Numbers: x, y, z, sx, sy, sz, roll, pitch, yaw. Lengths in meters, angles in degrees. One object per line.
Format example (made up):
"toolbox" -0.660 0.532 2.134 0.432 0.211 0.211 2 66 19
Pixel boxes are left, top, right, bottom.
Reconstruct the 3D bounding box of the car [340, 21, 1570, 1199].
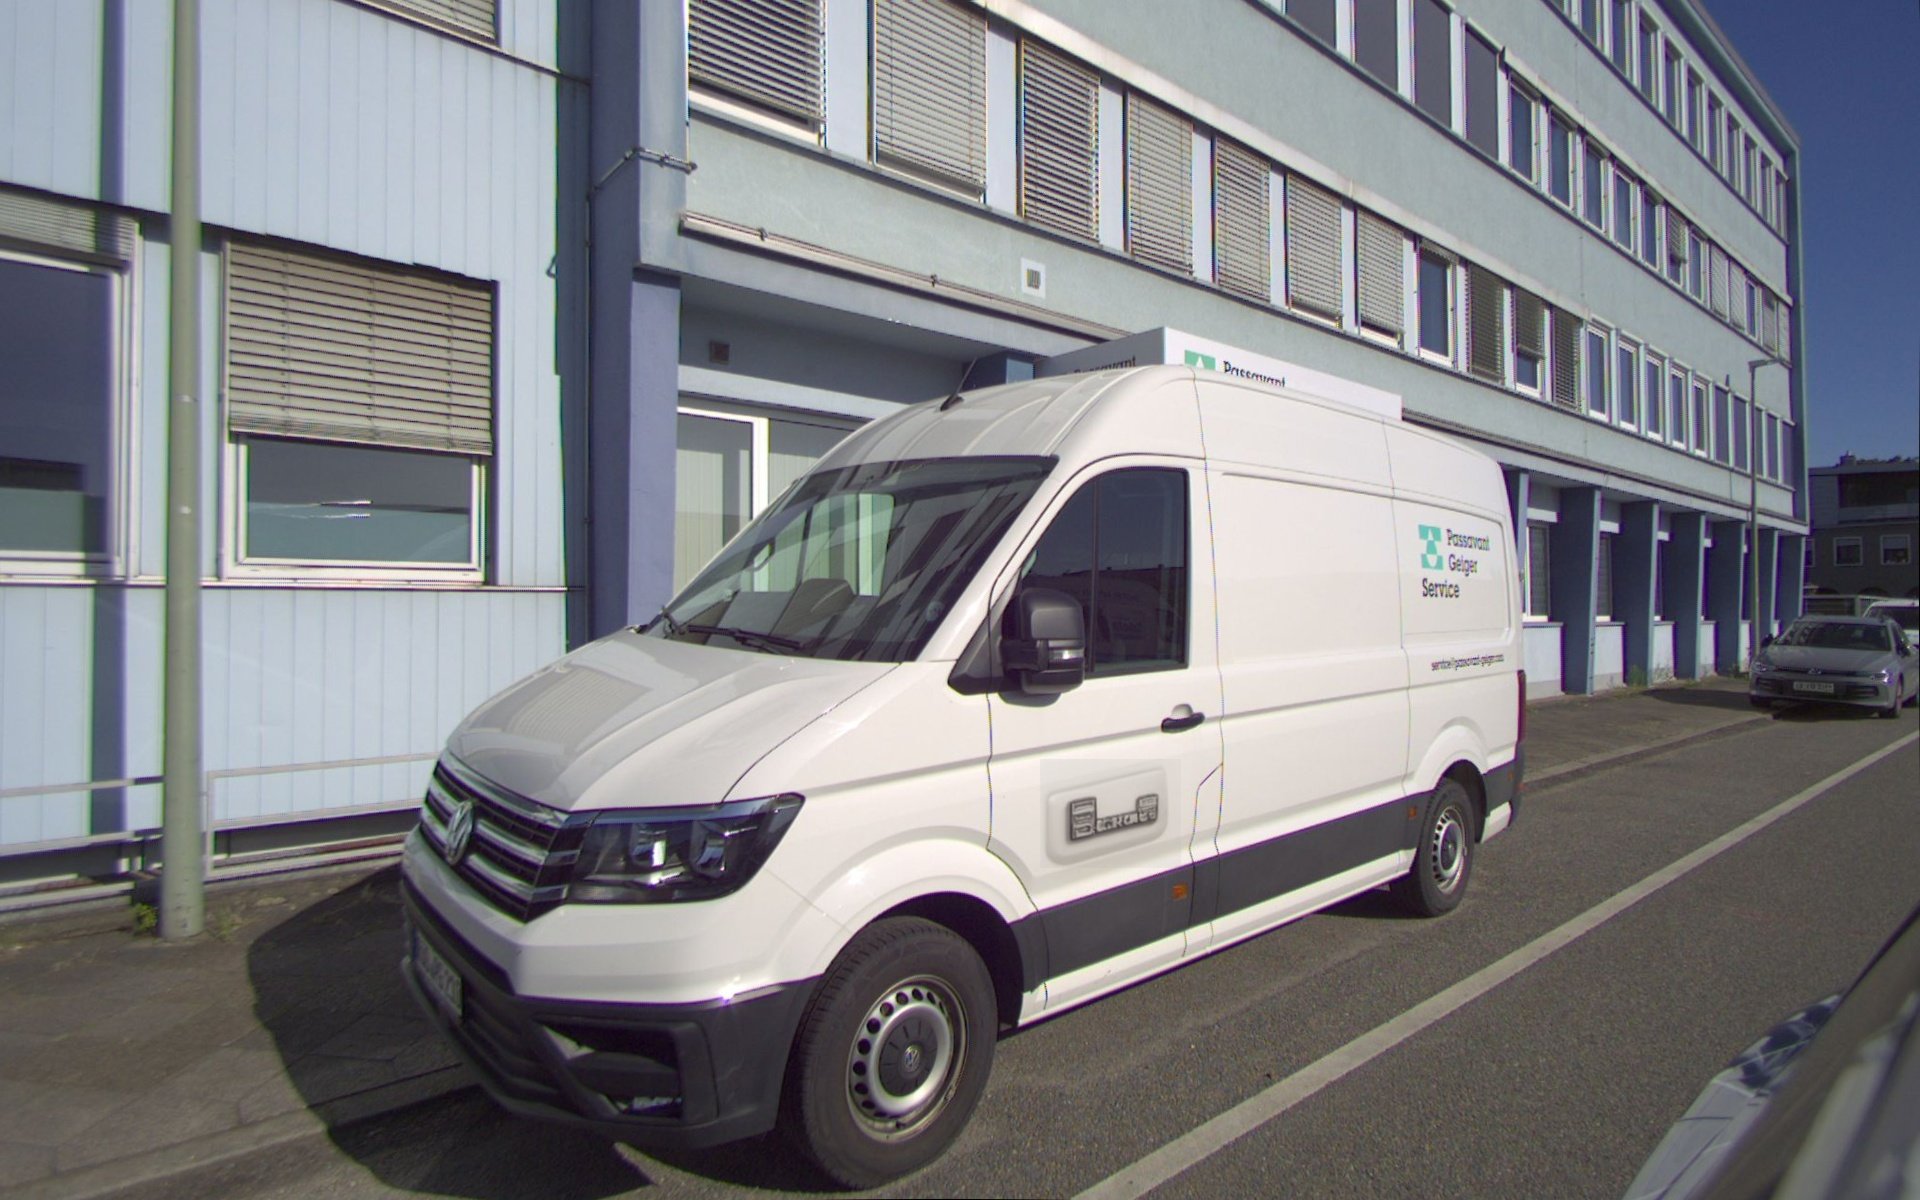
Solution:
"car" 0.731 0.172 4.769 5.945 2.631 1.997 1 0 -42

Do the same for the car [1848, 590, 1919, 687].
"car" 20.378 0.734 21.135 4.999 1.855 1.893 0 -2 -39

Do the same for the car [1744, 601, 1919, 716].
"car" 14.484 0.827 16.378 5.002 1.581 1.892 0 -2 -41
